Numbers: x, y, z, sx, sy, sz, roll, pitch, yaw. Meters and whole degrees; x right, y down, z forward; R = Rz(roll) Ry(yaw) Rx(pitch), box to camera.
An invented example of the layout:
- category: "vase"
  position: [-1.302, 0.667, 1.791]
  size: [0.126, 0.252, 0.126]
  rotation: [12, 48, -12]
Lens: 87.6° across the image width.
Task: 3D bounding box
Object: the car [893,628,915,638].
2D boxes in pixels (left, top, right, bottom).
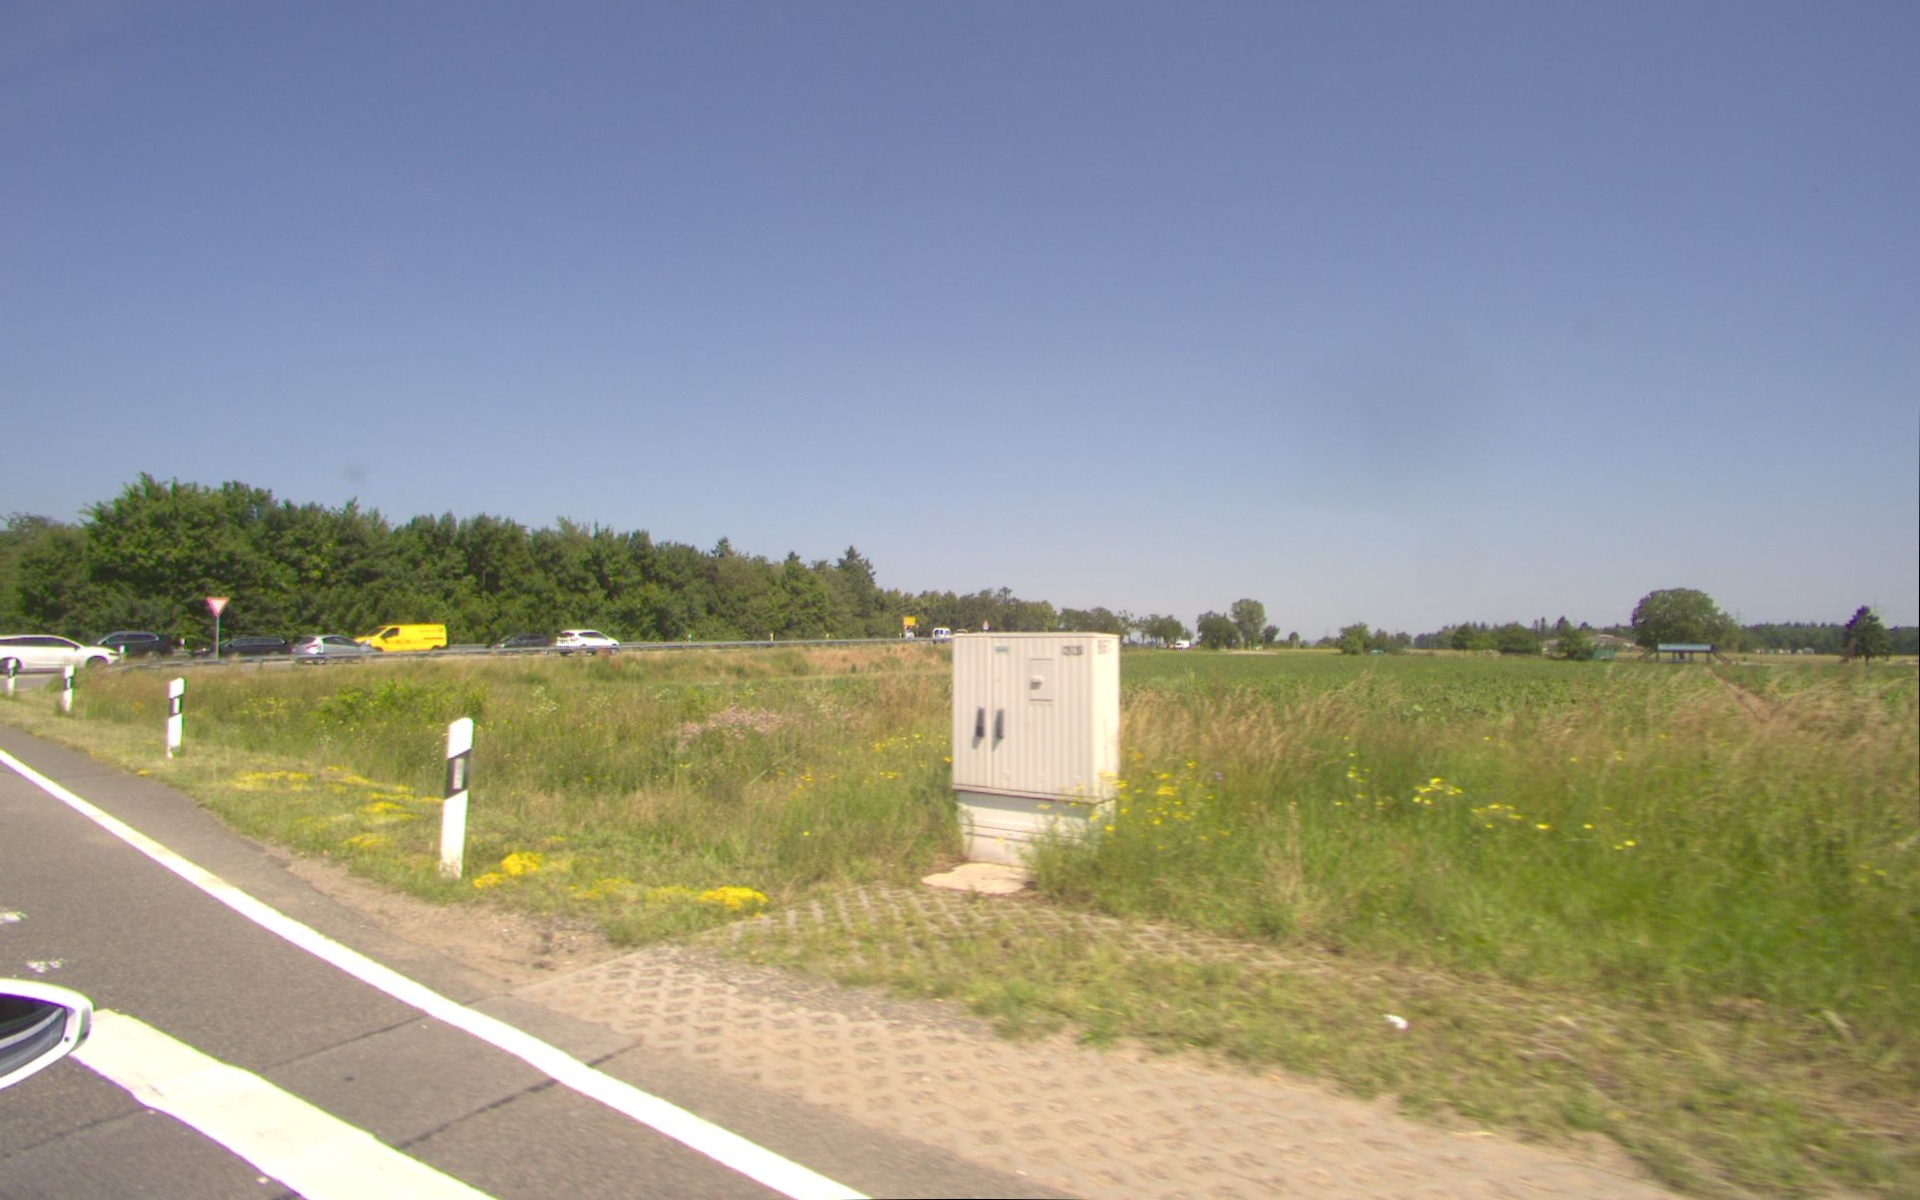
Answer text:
- category: "car"
  position: [-8.486, 5.010, 151.725]
  size: [1.823, 1.533, 4.684]
  rotation: [0, -2, -23]

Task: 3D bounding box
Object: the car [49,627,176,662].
- category: "car"
  position: [-41.222, 2.147, 48.809]
  size: [1.744, 1.618, 4.474]
  rotation: [-2, -2, 35]

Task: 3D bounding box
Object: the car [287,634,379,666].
- category: "car"
  position: [-31.815, 2.509, 50.902]
  size: [1.710, 1.587, 3.684]
  rotation: [-1, -2, 23]

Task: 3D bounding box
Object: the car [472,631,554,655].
- category: "car"
  position: [-29.532, 2.824, 66.260]
  size: [1.829, 1.533, 4.670]
  rotation: [-2, -2, 35]

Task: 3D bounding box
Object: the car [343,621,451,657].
- category: "car"
  position: [-33.580, 2.329, 59.883]
  size: [1.973, 2.039, 5.310]
  rotation: [-2, -2, 34]

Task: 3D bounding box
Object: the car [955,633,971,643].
- category: "car"
  position: [0.391, 4.765, 125.753]
  size: [1.684, 1.204, 4.001]
  rotation: [-1, -2, 5]

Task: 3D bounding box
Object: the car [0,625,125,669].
- category: "car"
  position: [-36.396, 1.857, 39.949]
  size: [1.717, 1.587, 4.453]
  rotation: [-1, -1, 37]

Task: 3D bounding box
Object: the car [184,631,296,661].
- category: "car"
  position: [-39.148, 2.464, 54.540]
  size: [1.832, 1.533, 4.662]
  rotation: [-2, -2, 40]

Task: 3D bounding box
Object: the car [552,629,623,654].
- category: "car"
  position: [-24.232, 2.708, 65.276]
  size: [1.711, 1.587, 4.470]
  rotation: [-1, -2, 25]

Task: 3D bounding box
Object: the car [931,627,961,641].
- category: "car"
  position: [-1.604, 3.812, 113.201]
  size: [1.691, 1.589, 3.985]
  rotation: [-1, -2, 28]
